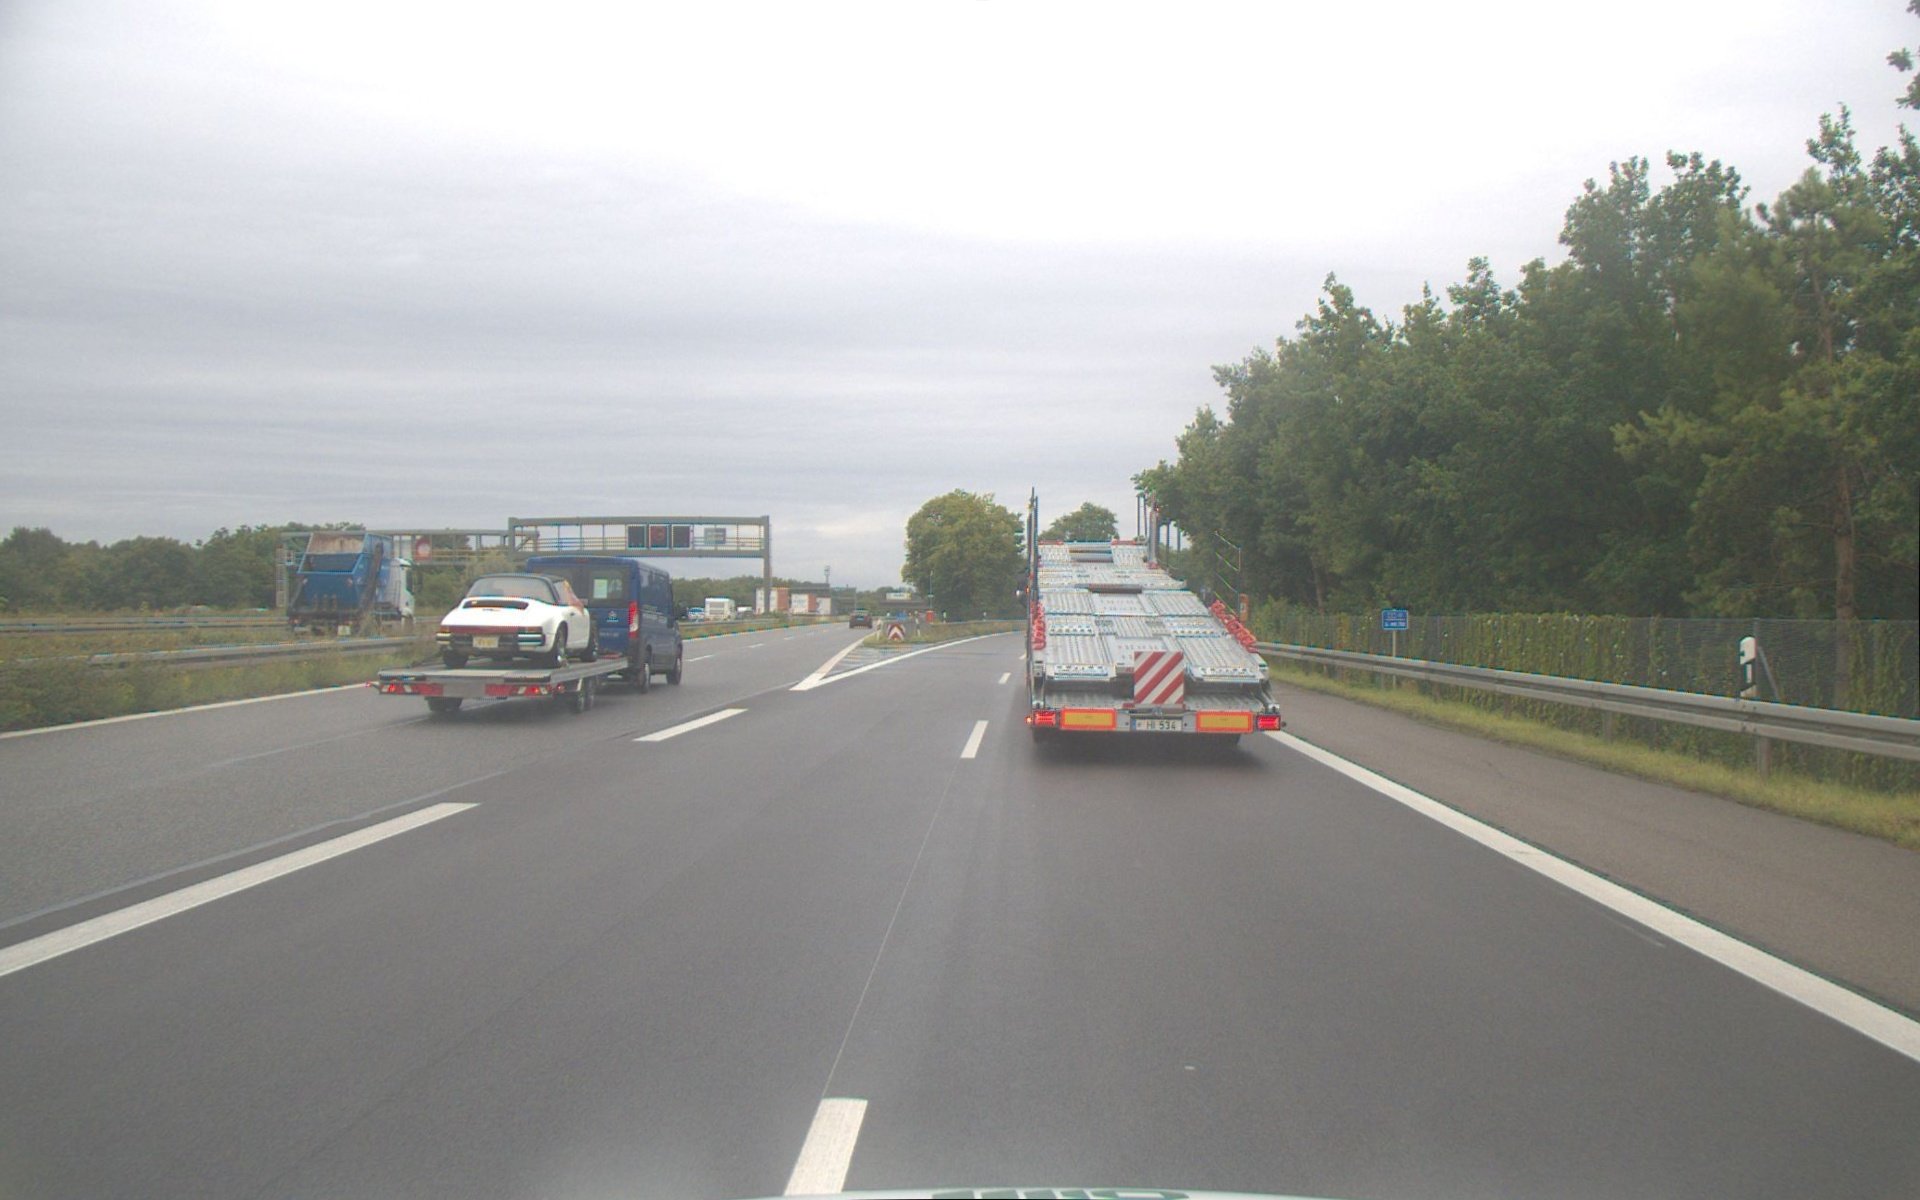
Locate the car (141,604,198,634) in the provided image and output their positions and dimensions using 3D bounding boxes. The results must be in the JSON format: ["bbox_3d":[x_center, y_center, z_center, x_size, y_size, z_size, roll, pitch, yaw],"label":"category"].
[{"bbox_3d":[-52.469,1.232,109.901,1.982,1.942,3.998,1,0,-3],"label":"car"}]

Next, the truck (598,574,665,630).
[{"bbox_3d":[-21.222,0.172,107.234,2.799,3.424,8.628,1,0,-1],"label":"truck"}]

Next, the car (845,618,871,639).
[{"bbox_3d":[-8.360,2.309,135.739,1.921,1.666,5.623,1,-1,-1],"label":"car"}]

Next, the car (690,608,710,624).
[{"bbox_3d":[-26.203,1.630,166.759,1.649,1.557,3.997,1,0,-4],"label":"car"}]

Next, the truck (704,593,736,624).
[{"bbox_3d":[-21.995,0.762,151.604,2.197,2.751,5.277,1,0,-1],"label":"truck"}]

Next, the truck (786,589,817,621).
[{"bbox_3d":[-23.357,0.776,244.226,3.657,4.494,11.893,1,0,-1],"label":"truck"}]

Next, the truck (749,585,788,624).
[{"bbox_3d":[-22.712,0.555,196.519,3.657,4.495,10.192,1,0,-1],"label":"truck"}]

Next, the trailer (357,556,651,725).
[{"bbox_3d":[-6.244,0.527,23.810,2.434,2.029,7.060,1,0,-2],"label":"trailer"}]

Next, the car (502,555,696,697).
[{"bbox_3d":[-6.453,0.455,30.456,2.325,2.306,6.254,1,0,-2],"label":"car"}]

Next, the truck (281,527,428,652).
[{"bbox_3d":[-20.310,-0.283,55.950,2.585,3.879,7.338,1,-1,-4],"label":"truck"}]

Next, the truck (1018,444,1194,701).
[{"bbox_3d":[2.546,-0.438,31.211,2.682,4.037,9.131,2,0,2],"label":"truck"}]

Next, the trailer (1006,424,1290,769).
[{"bbox_3d":[2.110,-0.020,21.435,2.719,3.342,10.410,1,0,3],"label":"trailer"}]

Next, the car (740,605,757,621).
[{"bbox_3d":[-27.448,1.744,214.990,1.695,2.049,3.998,1,-1,-1],"label":"car"}]
